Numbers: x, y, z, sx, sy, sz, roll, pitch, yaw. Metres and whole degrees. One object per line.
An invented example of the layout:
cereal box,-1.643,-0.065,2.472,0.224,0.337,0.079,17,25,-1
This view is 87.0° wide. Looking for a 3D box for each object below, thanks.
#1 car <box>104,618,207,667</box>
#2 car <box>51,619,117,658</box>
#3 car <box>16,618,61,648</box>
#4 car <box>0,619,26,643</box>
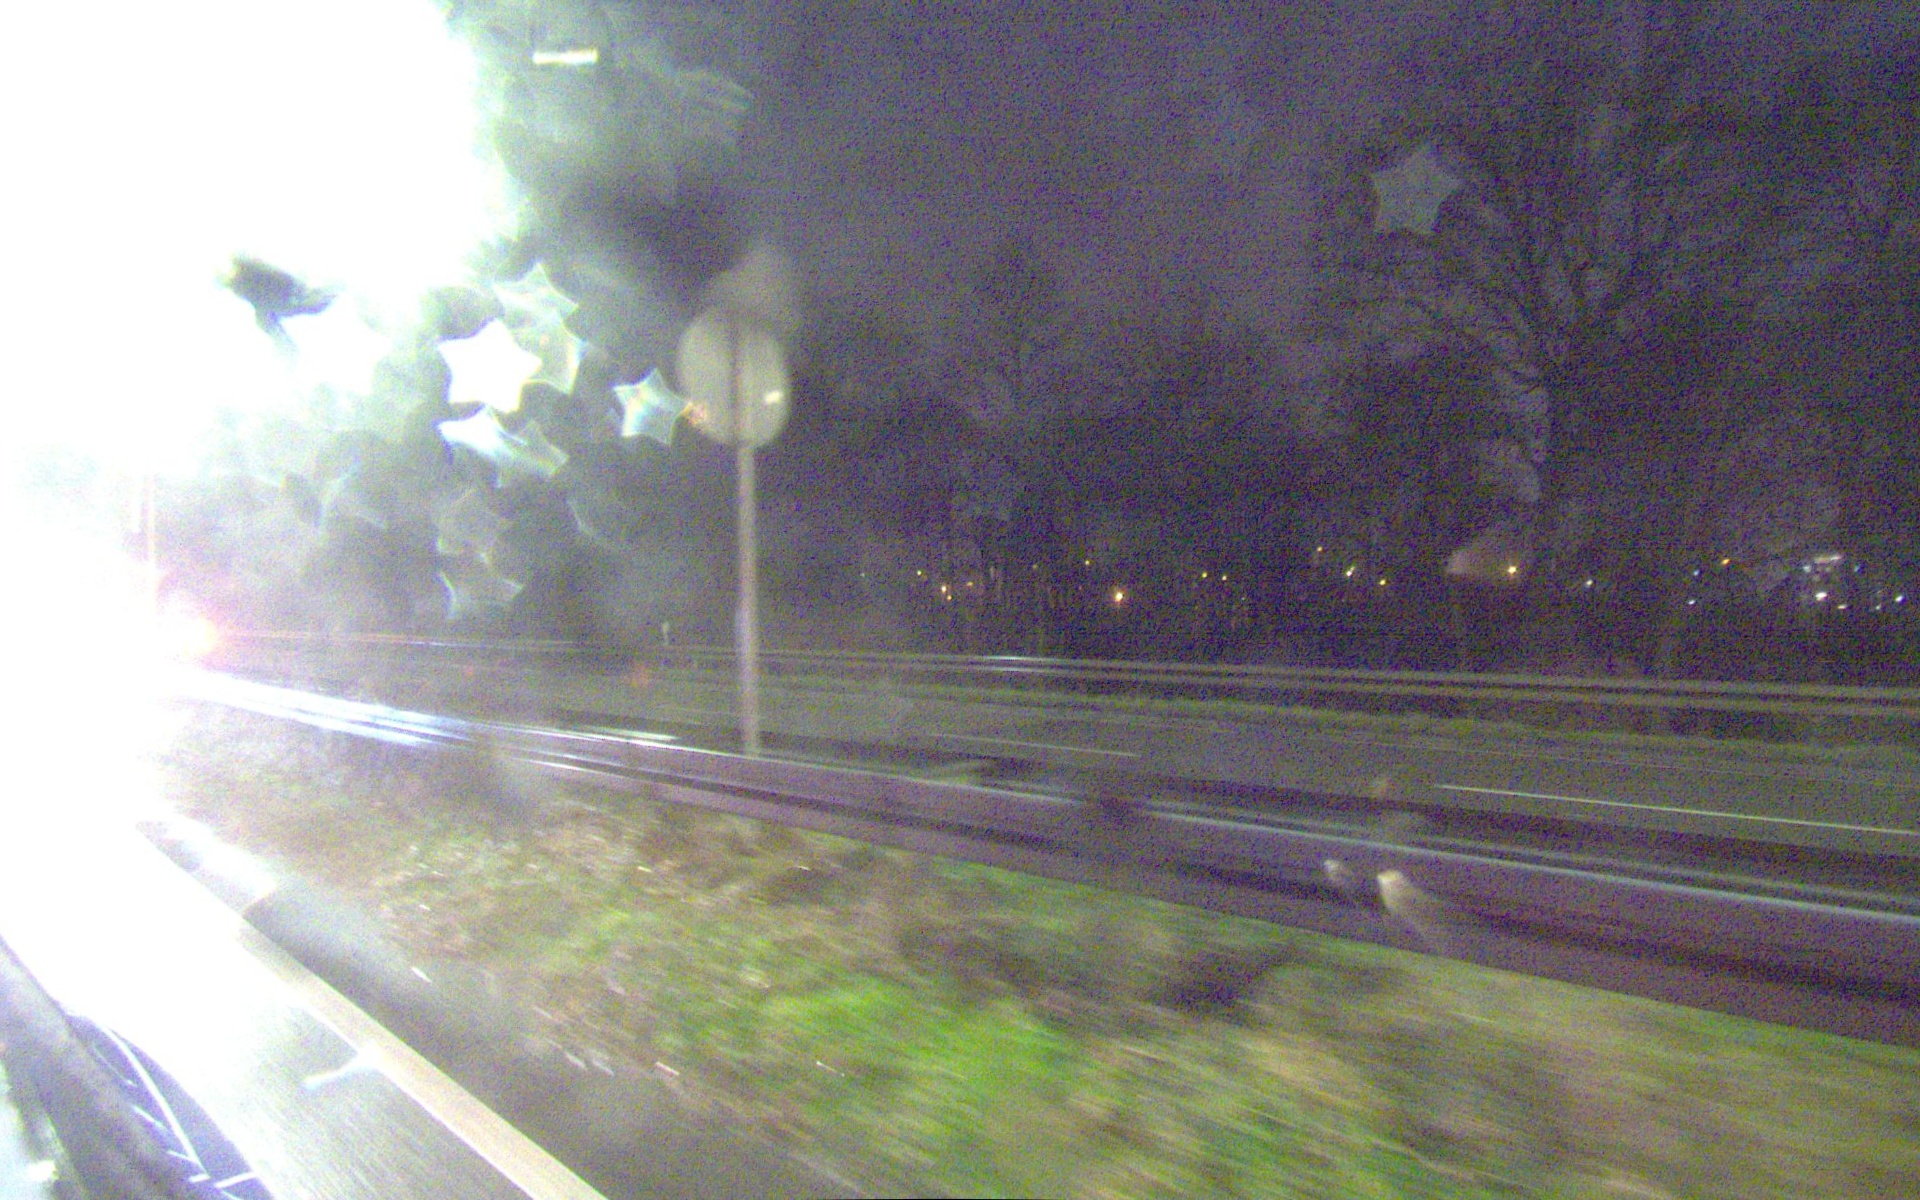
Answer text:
car,-25.269,1.349,31.744,4.460,1.405,1.796,-2,-5,43
car,-38.286,1.685,44.205,4.001,1.581,1.788,-2,-5,44
car,-51.253,1.827,56.259,4.163,1.554,1.550,-1,-4,44
car,-67.688,2.187,72.016,1.602,1.663,4.002,1,-2,-45
